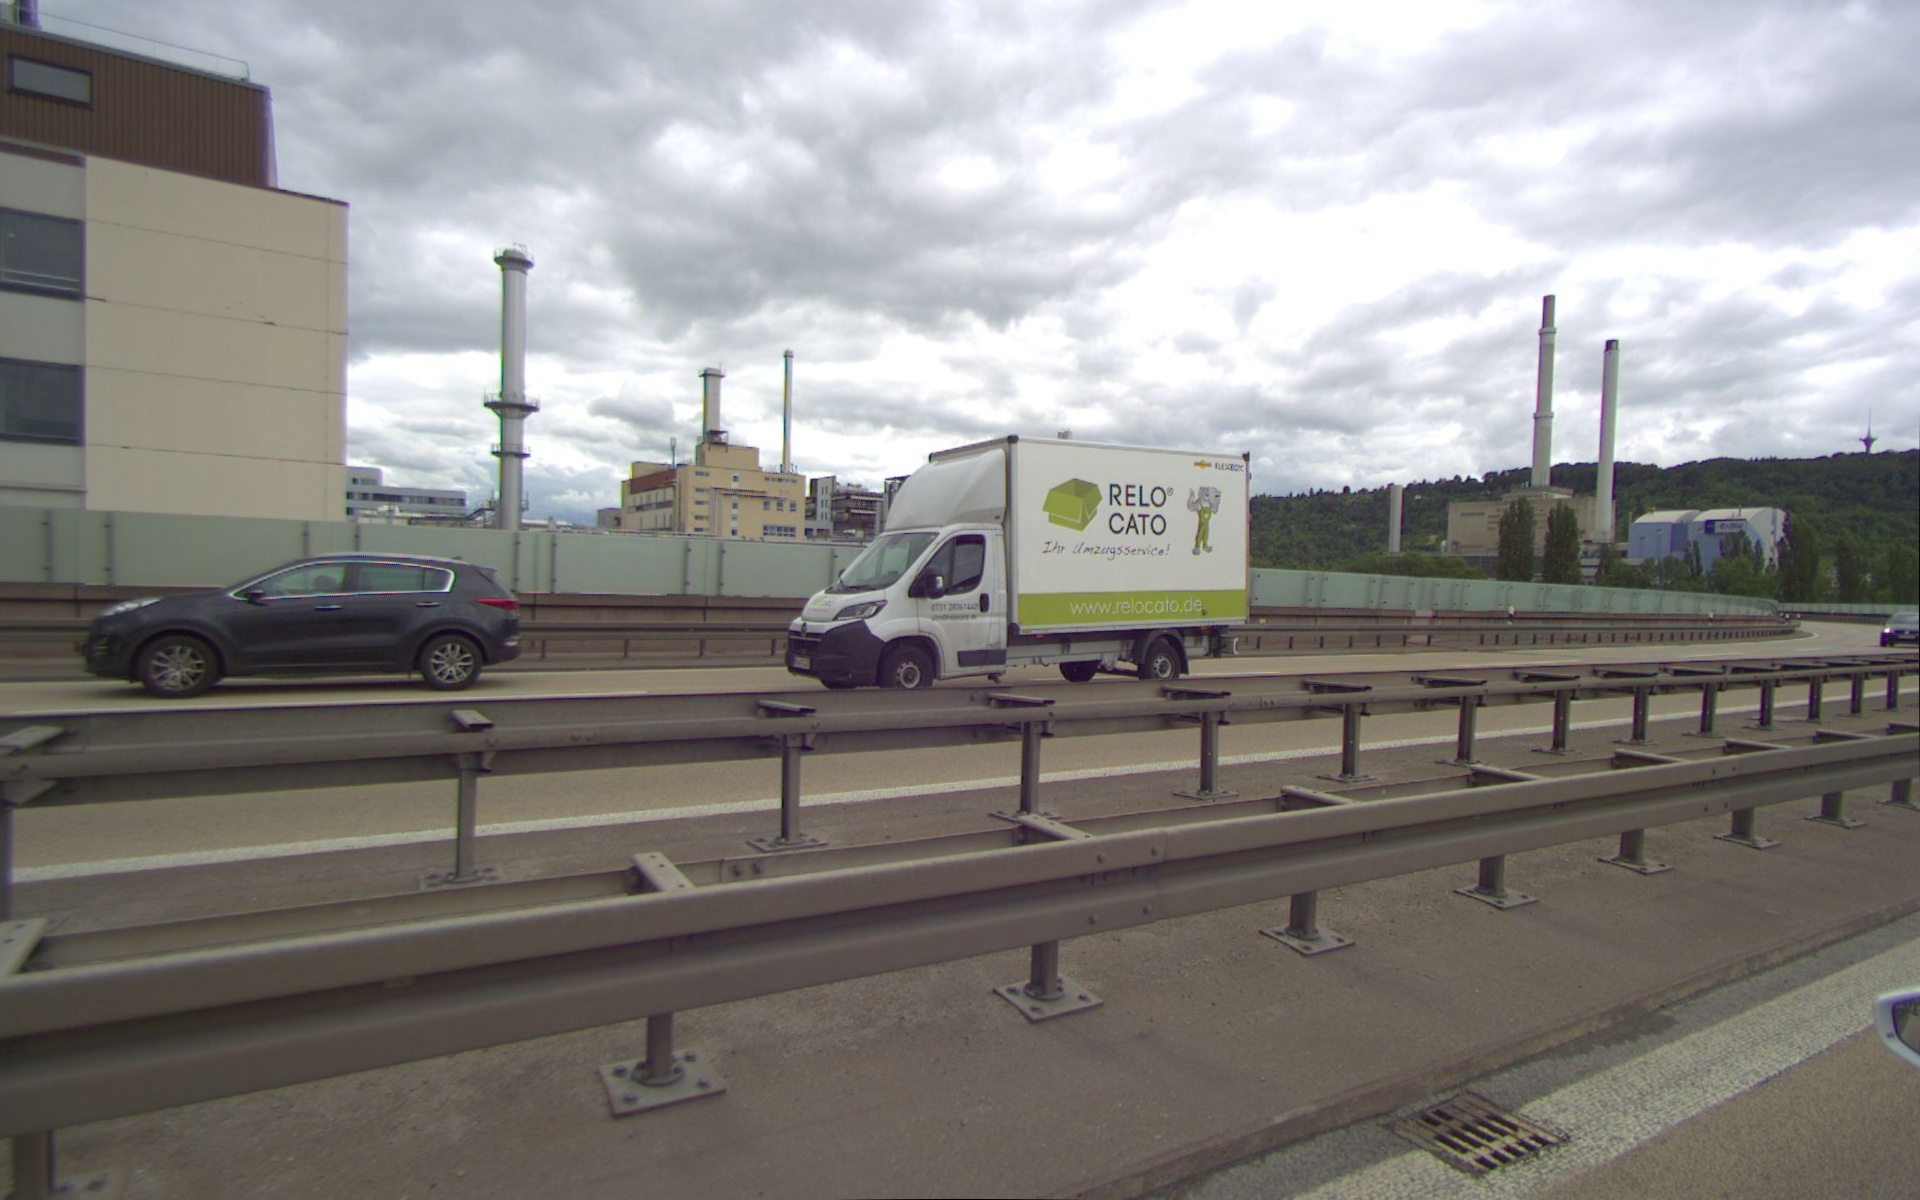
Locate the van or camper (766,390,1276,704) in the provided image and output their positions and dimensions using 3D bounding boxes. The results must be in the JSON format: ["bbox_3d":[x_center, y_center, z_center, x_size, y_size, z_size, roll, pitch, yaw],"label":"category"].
[{"bbox_3d":[1.042,-0.520,13.839,6.878,3.433,2.391,1,0,-32],"label":"van or camper"}]

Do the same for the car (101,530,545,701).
[{"bbox_3d":[-7.540,0.172,12.320,4.321,1.771,1.745,1,1,-32],"label":"car"}]

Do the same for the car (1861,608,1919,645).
[{"bbox_3d":[40.125,1.103,42.744,4.353,1.451,1.748,1,1,-35],"label":"car"}]

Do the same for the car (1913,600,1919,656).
[{"bbox_3d":[31.263,0.897,31.054,4.365,1.695,1.832,1,0,-36],"label":"car"}]
